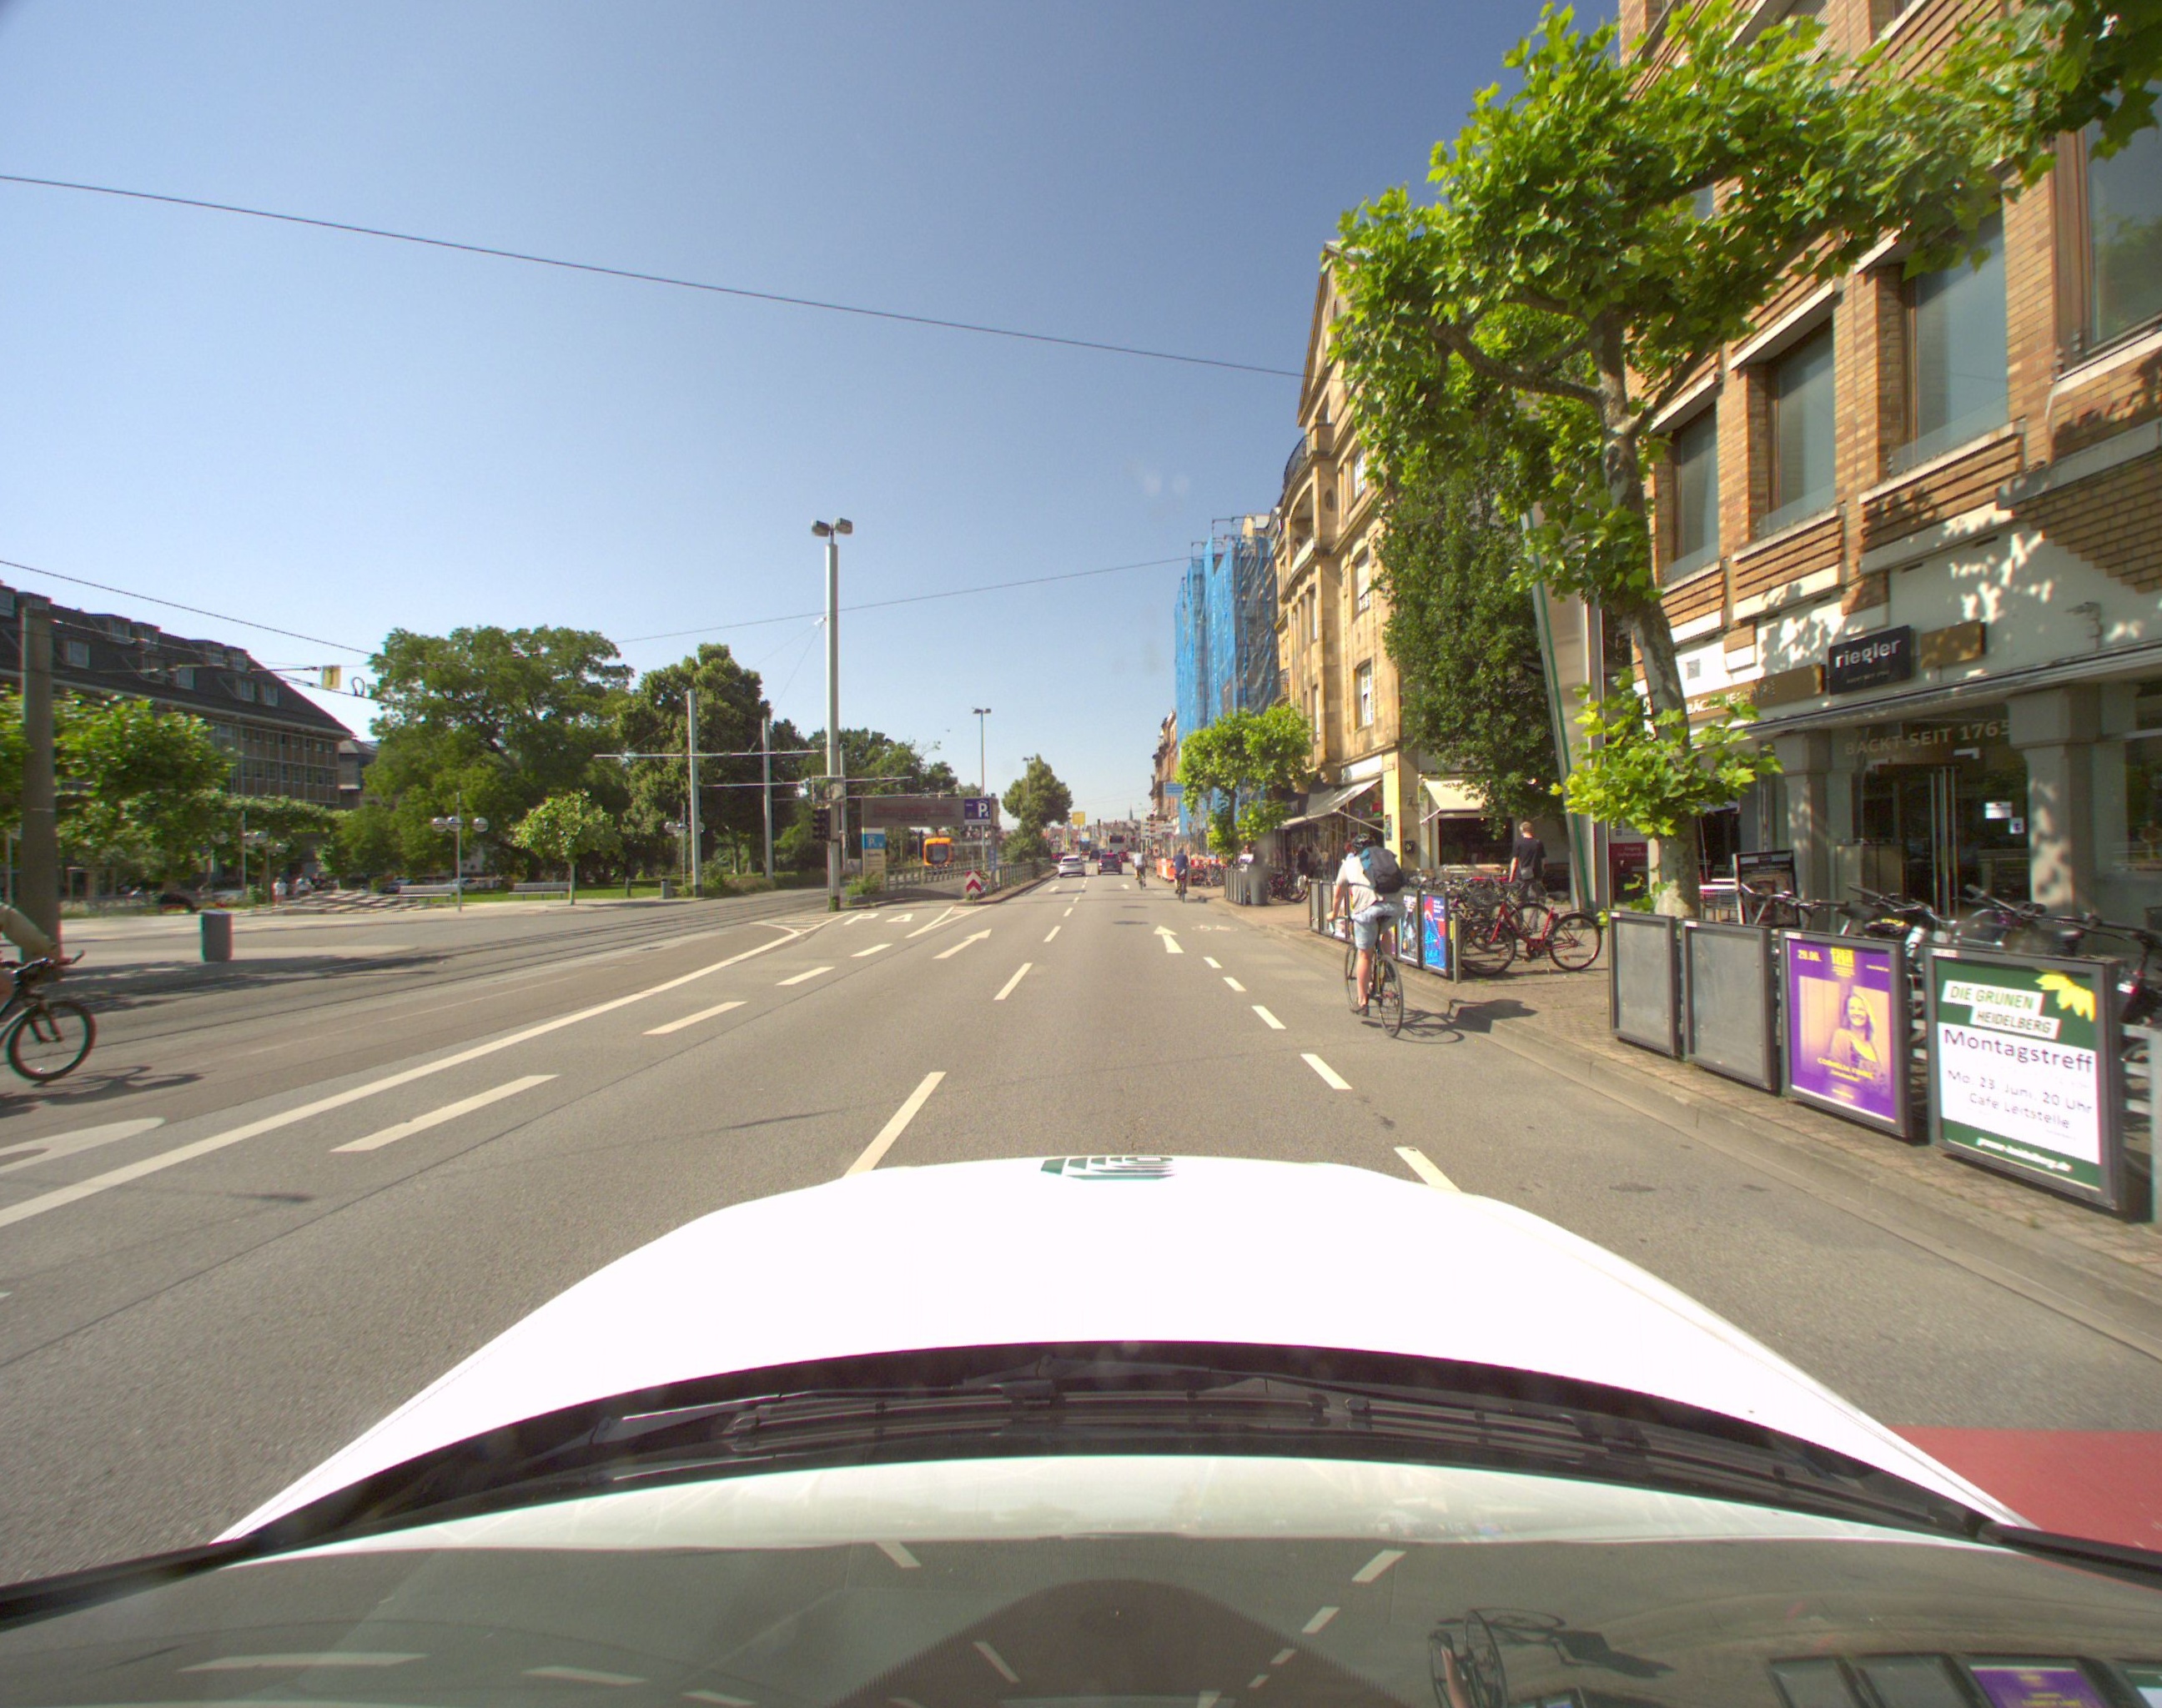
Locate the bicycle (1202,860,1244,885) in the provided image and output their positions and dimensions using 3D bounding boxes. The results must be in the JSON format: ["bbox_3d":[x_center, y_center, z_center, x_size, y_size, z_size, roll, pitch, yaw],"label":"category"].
[{"bbox_3d":[6.063,0.768,34.839,1.758,1.018,0.480,-1,0,-20],"label":"bicycle"}]

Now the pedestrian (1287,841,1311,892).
[{"bbox_3d":[7.481,0.431,27.908,0.540,1.683,0.494,-2,-1,-40],"label":"pedestrian"}]

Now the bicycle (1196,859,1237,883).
[{"bbox_3d":[6.049,0.759,36.312,1.747,1.018,0.483,-1,0,-1],"label":"bicycle"}]

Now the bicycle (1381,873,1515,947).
[{"bbox_3d":[5.366,0.809,11.952,1.747,1.018,0.483,-1,0,-1],"label":"bicycle"}]

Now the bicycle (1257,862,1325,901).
[{"bbox_3d":[5.788,0.755,22.487,1.747,1.018,0.483,-1,0,-1],"label":"bicycle"}]

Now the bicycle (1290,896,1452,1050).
[{"bbox_3d":[2.547,0.986,7.451,0.731,1.093,2.130,0,0,0],"label":"bicycle"}]

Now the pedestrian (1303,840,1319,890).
[{"bbox_3d":[7.966,0.372,28.199,0.377,1.683,0.479,-3,-1,23],"label":"pedestrian"}]

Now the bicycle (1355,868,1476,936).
[{"bbox_3d":[5.384,0.765,13.140,1.747,1.018,0.483,-1,0,-1],"label":"bicycle"}]

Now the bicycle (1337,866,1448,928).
[{"bbox_3d":[5.402,0.742,14.165,1.747,1.018,0.483,-1,0,-1],"label":"bicycle"}]

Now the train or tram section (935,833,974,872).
[{"bbox_3d":[-12.069,-0.186,78.059,2.604,3.581,6.105,0,0,1],"label":"train or tram section"}]

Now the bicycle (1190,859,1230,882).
[{"bbox_3d":[5.943,0.774,37.664,1.747,1.018,0.483,-1,0,-1],"label":"bicycle"}]

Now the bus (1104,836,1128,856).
[{"bbox_3d":[4.972,-1.108,116.992,2.961,2.776,8.637,0,0,-1],"label":"bus"}]

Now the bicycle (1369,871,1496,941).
[{"bbox_3d":[5.405,0.792,12.574,1.747,1.018,0.483,-1,0,-1],"label":"bicycle"}]

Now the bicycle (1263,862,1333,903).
[{"bbox_3d":[5.792,0.758,21.778,1.747,1.018,0.483,-1,0,-1],"label":"bicycle"}]

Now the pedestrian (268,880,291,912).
[{"bbox_3d":[-42.012,2.215,42.693,0.492,1.609,0.619,-4,1,-8],"label":"pedestrian"}]

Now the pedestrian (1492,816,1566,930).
[{"bbox_3d":[7.322,0.299,13.352,0.664,1.781,0.986,-2,0,6],"label":"pedestrian"}]

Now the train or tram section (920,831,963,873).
[{"bbox_3d":[-12.212,-0.173,71.969,2.604,3.581,6.105,0,0,1],"label":"train or tram section"}]

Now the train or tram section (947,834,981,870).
[{"bbox_3d":[-11.943,-0.199,83.794,2.604,3.581,5.358,0,0,1],"label":"train or tram section"}]

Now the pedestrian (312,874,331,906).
[{"bbox_3d":[-39.423,1.886,42.296,0.413,1.609,0.493,-4,1,-8],"label":"pedestrian"}]

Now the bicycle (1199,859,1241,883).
[{"bbox_3d":[6.102,0.754,35.779,1.747,1.018,0.483,-1,0,-1],"label":"bicycle"}]

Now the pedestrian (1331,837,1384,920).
[{"bbox_3d":[5.702,0.495,16.829,0.696,1.626,0.698,-3,0,-15],"label":"pedestrian"}]

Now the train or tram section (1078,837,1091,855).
[{"bbox_3d":[0.726,-1.684,174.510,2.814,3.581,10.029,0,0,0],"label":"train or tram section"}]

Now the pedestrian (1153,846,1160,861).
[{"bbox_3d":[8.450,-0.062,91.732,0.652,1.620,0.815,-2,1,0],"label":"pedestrian"}]

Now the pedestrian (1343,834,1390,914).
[{"bbox_3d":[6.075,0.418,17.354,0.599,1.626,0.642,-4,0,-11],"label":"pedestrian"}]

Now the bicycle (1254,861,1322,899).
[{"bbox_3d":[5.856,0.730,23.107,1.747,1.018,0.587,-2,0,-1],"label":"bicycle"}]

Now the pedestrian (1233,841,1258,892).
[{"bbox_3d":[5.538,0.411,27.392,0.655,1.683,0.653,-2,-1,-2],"label":"pedestrian"}]

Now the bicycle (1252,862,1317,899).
[{"bbox_3d":[5.932,0.757,23.769,1.747,1.018,0.557,-1,0,-1],"label":"bicycle"}]

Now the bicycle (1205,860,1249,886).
[{"bbox_3d":[6.084,0.786,33.909,1.747,1.018,0.483,-1,0,-1],"label":"bicycle"}]

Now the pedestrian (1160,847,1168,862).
[{"bbox_3d":[9.568,0.014,93.721,0.753,1.656,0.837,-5,-1,0],"label":"pedestrian"}]

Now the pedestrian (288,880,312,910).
[{"bbox_3d":[-41.049,2.164,42.784,0.524,1.493,0.660,-4,1,-7],"label":"pedestrian"}]

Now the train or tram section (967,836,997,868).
[{"bbox_3d":[-11.662,-0.226,96.292,2.604,3.581,6.019,0,0,1],"label":"train or tram section"}]

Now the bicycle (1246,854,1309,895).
[{"bbox_3d":[5.912,0.625,24.557,1.747,1.181,0.579,-1,0,-1],"label":"bicycle"}]

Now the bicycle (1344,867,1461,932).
[{"bbox_3d":[5.370,0.750,13.645,1.747,1.018,0.483,-1,0,-1],"label":"bicycle"}]

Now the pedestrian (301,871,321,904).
[{"bbox_3d":[-39.128,1.709,41.368,0.450,1.609,0.466,-4,1,2],"label":"pedestrian"}]

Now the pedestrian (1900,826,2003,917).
[{"bbox_3d":[12.405,0.239,11.624,0.787,1.255,0.641,0,0,5],"label":"pedestrian"}]

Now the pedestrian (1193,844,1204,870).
[{"bbox_3d":[8.125,0.200,56.399,0.637,1.776,0.649,0,0,1],"label":"pedestrian"}]

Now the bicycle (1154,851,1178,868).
[{"bbox_3d":[6.106,0.389,58.730,1.687,1.178,0.609,0,0,1],"label":"bicycle"}]

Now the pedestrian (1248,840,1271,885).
[{"bbox_3d":[7.579,0.350,34.580,0.809,1.848,0.893,-3,-1,9],"label":"pedestrian"}]
